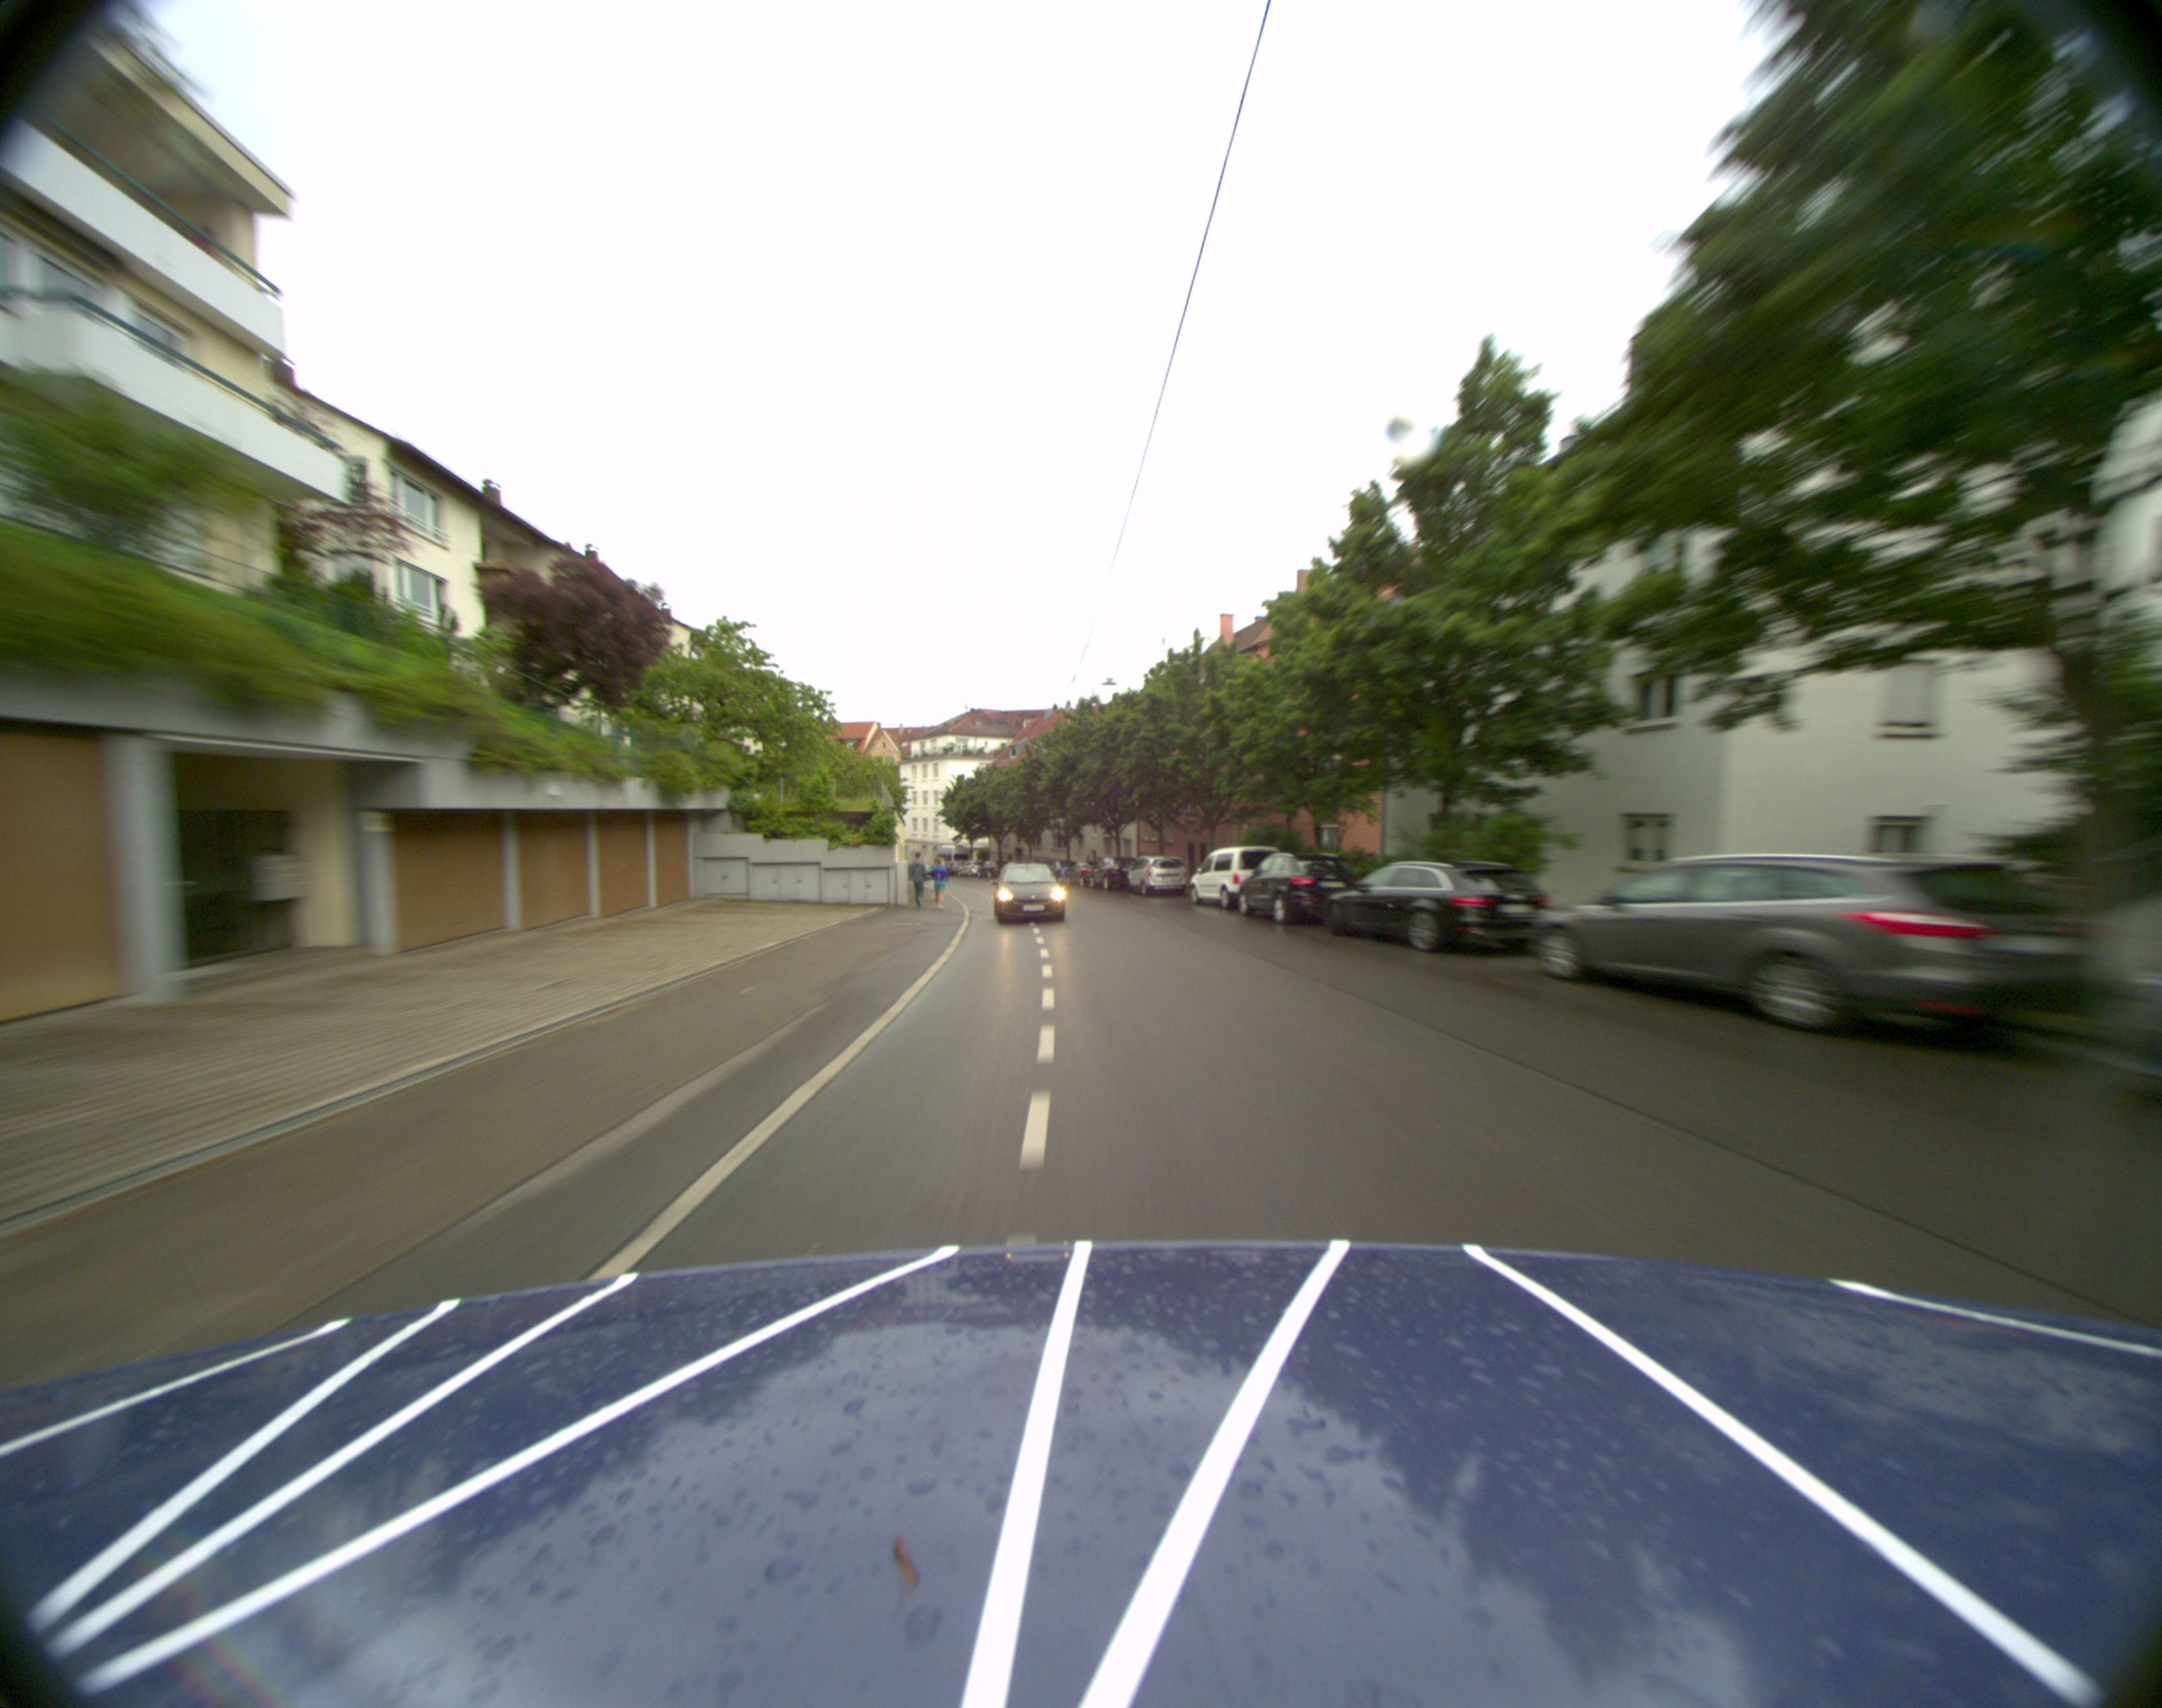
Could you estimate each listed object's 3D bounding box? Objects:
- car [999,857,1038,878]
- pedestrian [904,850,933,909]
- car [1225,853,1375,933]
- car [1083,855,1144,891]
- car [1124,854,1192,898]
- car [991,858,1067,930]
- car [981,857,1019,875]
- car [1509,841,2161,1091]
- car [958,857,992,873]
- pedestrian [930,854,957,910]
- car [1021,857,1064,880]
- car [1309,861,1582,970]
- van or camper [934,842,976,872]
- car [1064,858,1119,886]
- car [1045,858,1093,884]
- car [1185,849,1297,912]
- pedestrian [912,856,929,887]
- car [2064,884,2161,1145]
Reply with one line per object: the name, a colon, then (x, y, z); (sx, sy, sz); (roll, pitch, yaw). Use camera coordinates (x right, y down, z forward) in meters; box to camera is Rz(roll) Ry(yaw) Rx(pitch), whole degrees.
car: (-4.951, 1.006, 59.551); (1.794, 1.484, 4.636); (-2, 1, -21)
pedestrian: (-5.208, 0.804, 24.420); (0.778, 1.821, 1.250); (2, -1, -9)
car: (5.078, 0.818, 18.359); (1.859, 1.658, 4.585); (-1, 0, -6)
car: (1.566, 0.893, 38.496); (1.794, 1.631, 4.474); (-3, 1, -15)
car: (3.195, 0.867, 32.435); (1.752, 1.680, 4.596); (-1, 0, -9)
car: (-1.426, 0.954, 20.044); (1.699, 1.456, 3.997); (-4, 2, -6)
car: (-6.886, 1.016, 64.219); (1.795, 1.484, 4.489); (0, 0, -26)
car: (6.606, 0.760, 7.467); (1.860, 1.680, 4.552); (0, 0, -6)
car: (-9.728, 1.015, 69.558); (1.594, 1.401, 4.037); (-1, 0, -32)
pedestrian: (-4.419, 0.899, 24.507); (0.778, 1.748, 1.010); (2, 1, -9)
car: (-2.812, 1.005, 54.259); (1.795, 1.484, 4.353); (-1, 0, -21)
car: (5.903, 0.880, 13.119); (1.860, 1.490, 4.736); (-1, 0, -10)
van or camper: (-12.432, 0.282, 74.660); (2.077, 2.843, 5.734); (0, 0, -31)
car: (0.563, 0.967, 43.449); (1.794, 1.484, 4.354); (-1, 0, -18)
car: (-0.822, 1.019, 47.894); (1.794, 1.484, 4.855); (-1, 0, -16)
car: (4.826, 0.759, 23.656); (1.860, 1.766, 4.478); (0, 0, -10)
pedestrian: (-9.506, 1.023, 44.998); (0.902, 1.840, 0.802); (-1, 1, -14)
car: (6.857, 0.872, 2.434); (1.619, 1.388, 4.320); (-1, 0, -7)
